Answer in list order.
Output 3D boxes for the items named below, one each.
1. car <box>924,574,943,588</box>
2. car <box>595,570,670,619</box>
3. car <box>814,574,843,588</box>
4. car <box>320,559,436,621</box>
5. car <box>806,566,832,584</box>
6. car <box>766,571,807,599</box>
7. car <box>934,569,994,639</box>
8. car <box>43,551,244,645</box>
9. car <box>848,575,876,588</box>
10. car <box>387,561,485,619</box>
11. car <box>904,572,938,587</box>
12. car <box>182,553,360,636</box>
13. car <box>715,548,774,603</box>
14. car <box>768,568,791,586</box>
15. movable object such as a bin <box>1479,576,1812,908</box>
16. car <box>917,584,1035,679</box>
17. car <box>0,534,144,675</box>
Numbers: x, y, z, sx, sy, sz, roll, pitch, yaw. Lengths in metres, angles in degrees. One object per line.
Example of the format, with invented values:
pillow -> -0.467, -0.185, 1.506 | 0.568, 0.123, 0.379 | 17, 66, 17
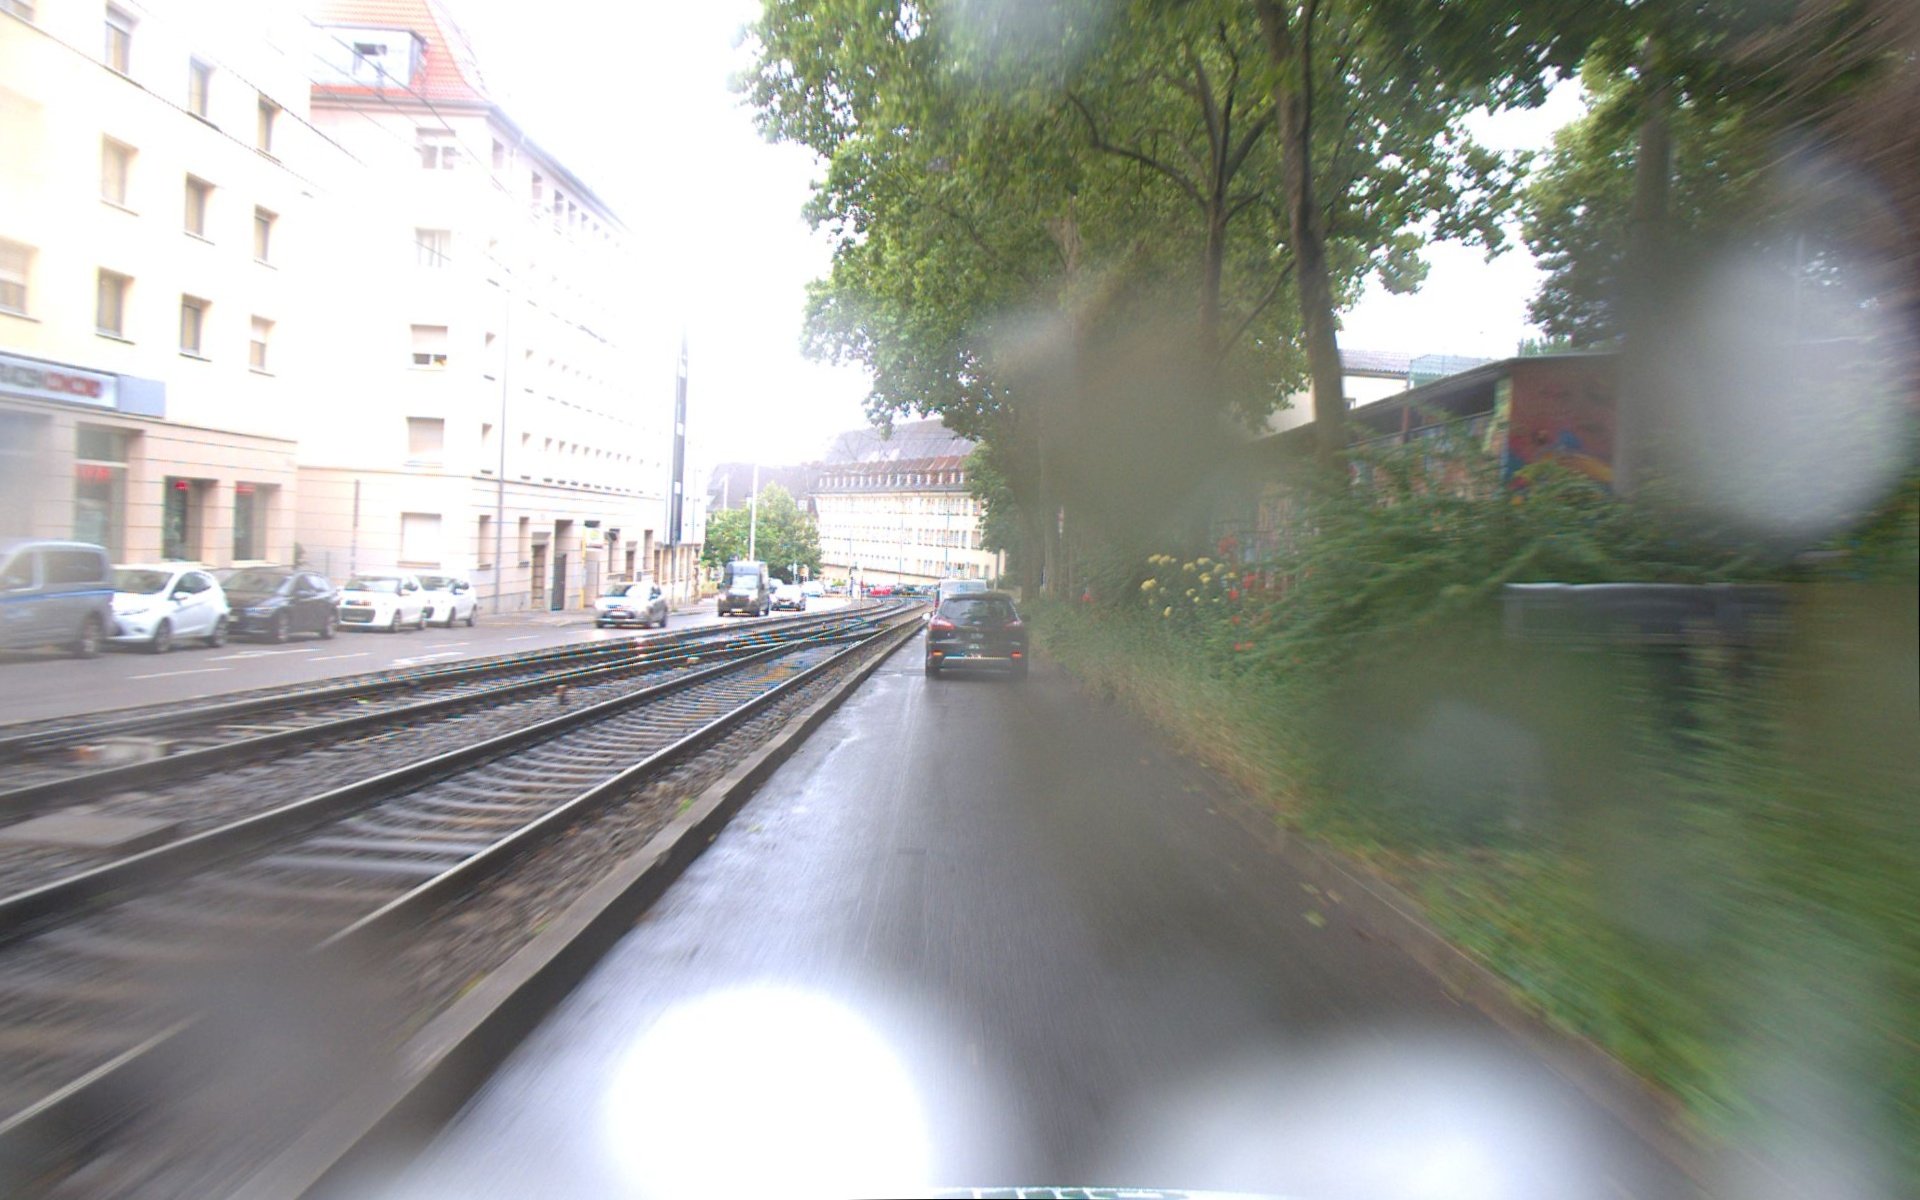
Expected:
car -> -3.013, -2.119, 184.355 | 1.626, 1.502, 3.637 | 2, 0, -8
car -> -10.654, -0.194, 54.058 | 1.677, 1.488, 4.279 | 1, 1, -1
car -> -16.666, -2.405, 209.793 | 1.974, 1.569, 3.956 | 2, 1, -32
car -> -14.826, -0.254, 42.332 | 1.670, 1.421, 3.933 | 4, 0, -3
car -> -12.903, -2.254, 151.512 | 1.762, 1.508, 4.841 | 2, 0, 1
car -> -10.305, -0.902, 98.301 | 1.841, 1.511, 4.855 | 2, 1, 0
car -> 0.090, 0.107, 52.036 | 1.705, 2.049, 3.902 | 2, 0, -2
car -> -14.543, -0.093, 29.714 | 1.657, 1.464, 4.048 | -2, 2, -2
car -> -12.012, -2.235, 202.075 | 1.970, 1.569, 3.966 | 0, 1, -27
car -> -14.815, -0.300, 46.970 | 1.674, 1.475, 3.540 | 4, 0, -2
car -> -4.428, -2.321, 188.050 | 1.976, 1.569, 3.953 | 2, 1, -34
car -> -14.449, -0.146, 34.970 | 1.776, 1.525, 4.582 | 3, 1, 0
car -> -10.413, -1.131, 80.391 | 1.953, 2.494, 5.998 | 2, 0, 0
car -> -16.998, -2.149, 155.651 | 1.957, 1.569, 3.992 | 2, 0, -9
movable object such as a bin -> 3.335, 0.630, 8.235 | 1.371, 1.478, 1.217 | 1, 1, 15
car -> 0.216, 0.509, 29.749 | 1.894, 1.478, 4.316 | 3, 0, -1
car -> -14.575, 0.011, 24.610 | 1.953, 1.937, 5.461 | 4, 1, 1
